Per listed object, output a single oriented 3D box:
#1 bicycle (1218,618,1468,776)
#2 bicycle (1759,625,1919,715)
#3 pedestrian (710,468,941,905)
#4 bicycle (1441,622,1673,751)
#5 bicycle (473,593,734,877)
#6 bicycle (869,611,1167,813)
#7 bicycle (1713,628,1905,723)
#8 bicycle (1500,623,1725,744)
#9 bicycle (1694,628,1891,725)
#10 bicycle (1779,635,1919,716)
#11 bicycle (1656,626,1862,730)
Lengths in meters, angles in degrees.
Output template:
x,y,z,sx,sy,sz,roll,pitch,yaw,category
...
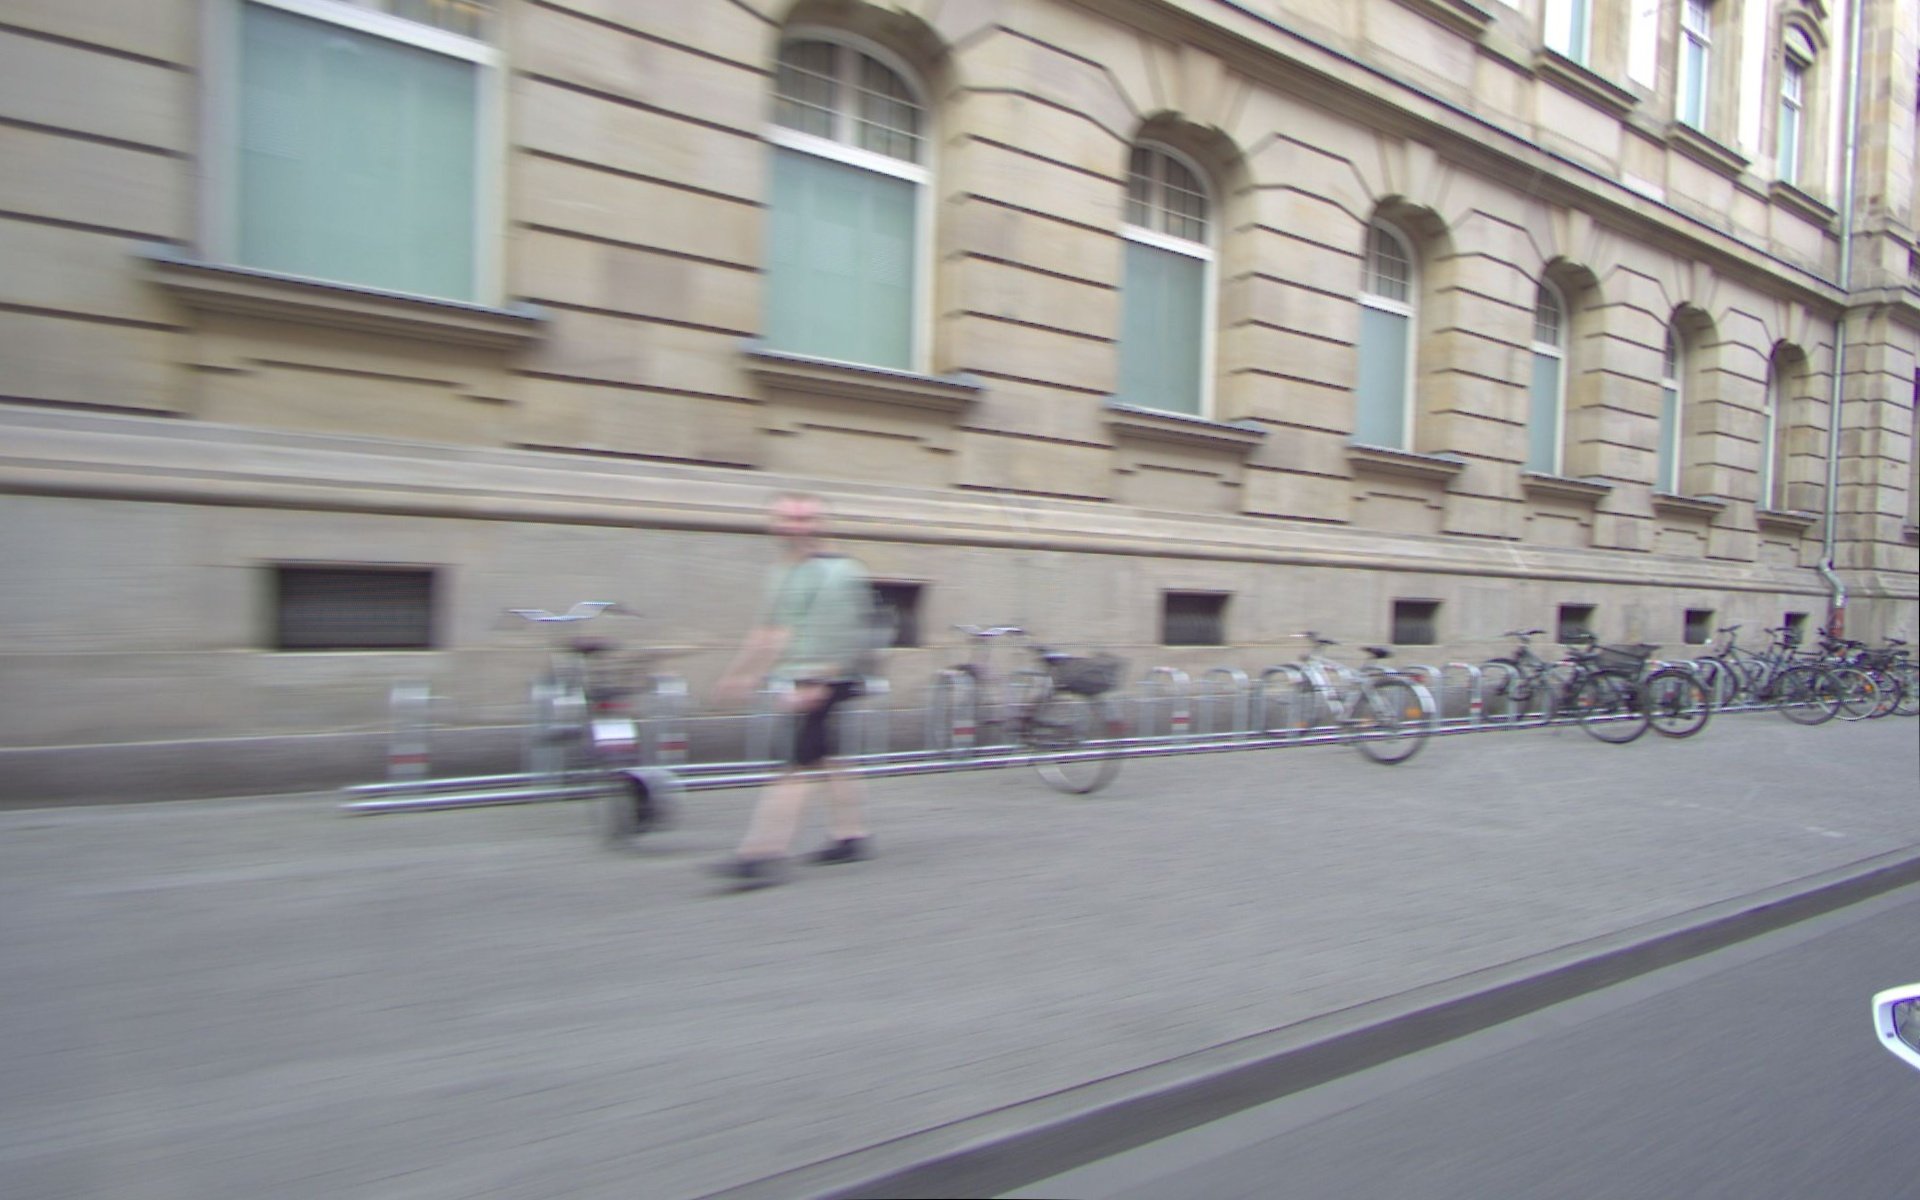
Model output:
x,y,z,sx,sy,sz,roll,pitch,yaw,category
3.266,0.774,8.758,0.723,1.093,1.925,2,2,-34,bicycle
13.100,0.999,14.767,0.740,1.093,1.926,2,2,-31,bicycle
-0.637,0.354,4.641,0.791,1.804,0.713,1,2,-31,pedestrian
6.211,0.852,10.558,0.723,1.093,1.922,2,2,-37,bicycle
-1.974,0.588,5.339,0.723,1.124,2.004,2,2,-37,bicycle
0.346,0.690,6.997,1.995,1.093,0.727,5,2,40,bicycle
11.967,1.027,14.223,0.723,1.093,1.922,2,2,-37,bicycle
7.203,0.875,11.189,0.723,1.093,1.922,2,2,-37,bicycle
11.353,1.003,13.763,0.723,1.093,1.922,2,2,-37,bicycle
13.831,1.135,15.312,0.714,1.060,1.922,1,2,-35,bicycle
10.289,0.966,13.006,0.723,1.093,1.922,2,2,-37,bicycle
